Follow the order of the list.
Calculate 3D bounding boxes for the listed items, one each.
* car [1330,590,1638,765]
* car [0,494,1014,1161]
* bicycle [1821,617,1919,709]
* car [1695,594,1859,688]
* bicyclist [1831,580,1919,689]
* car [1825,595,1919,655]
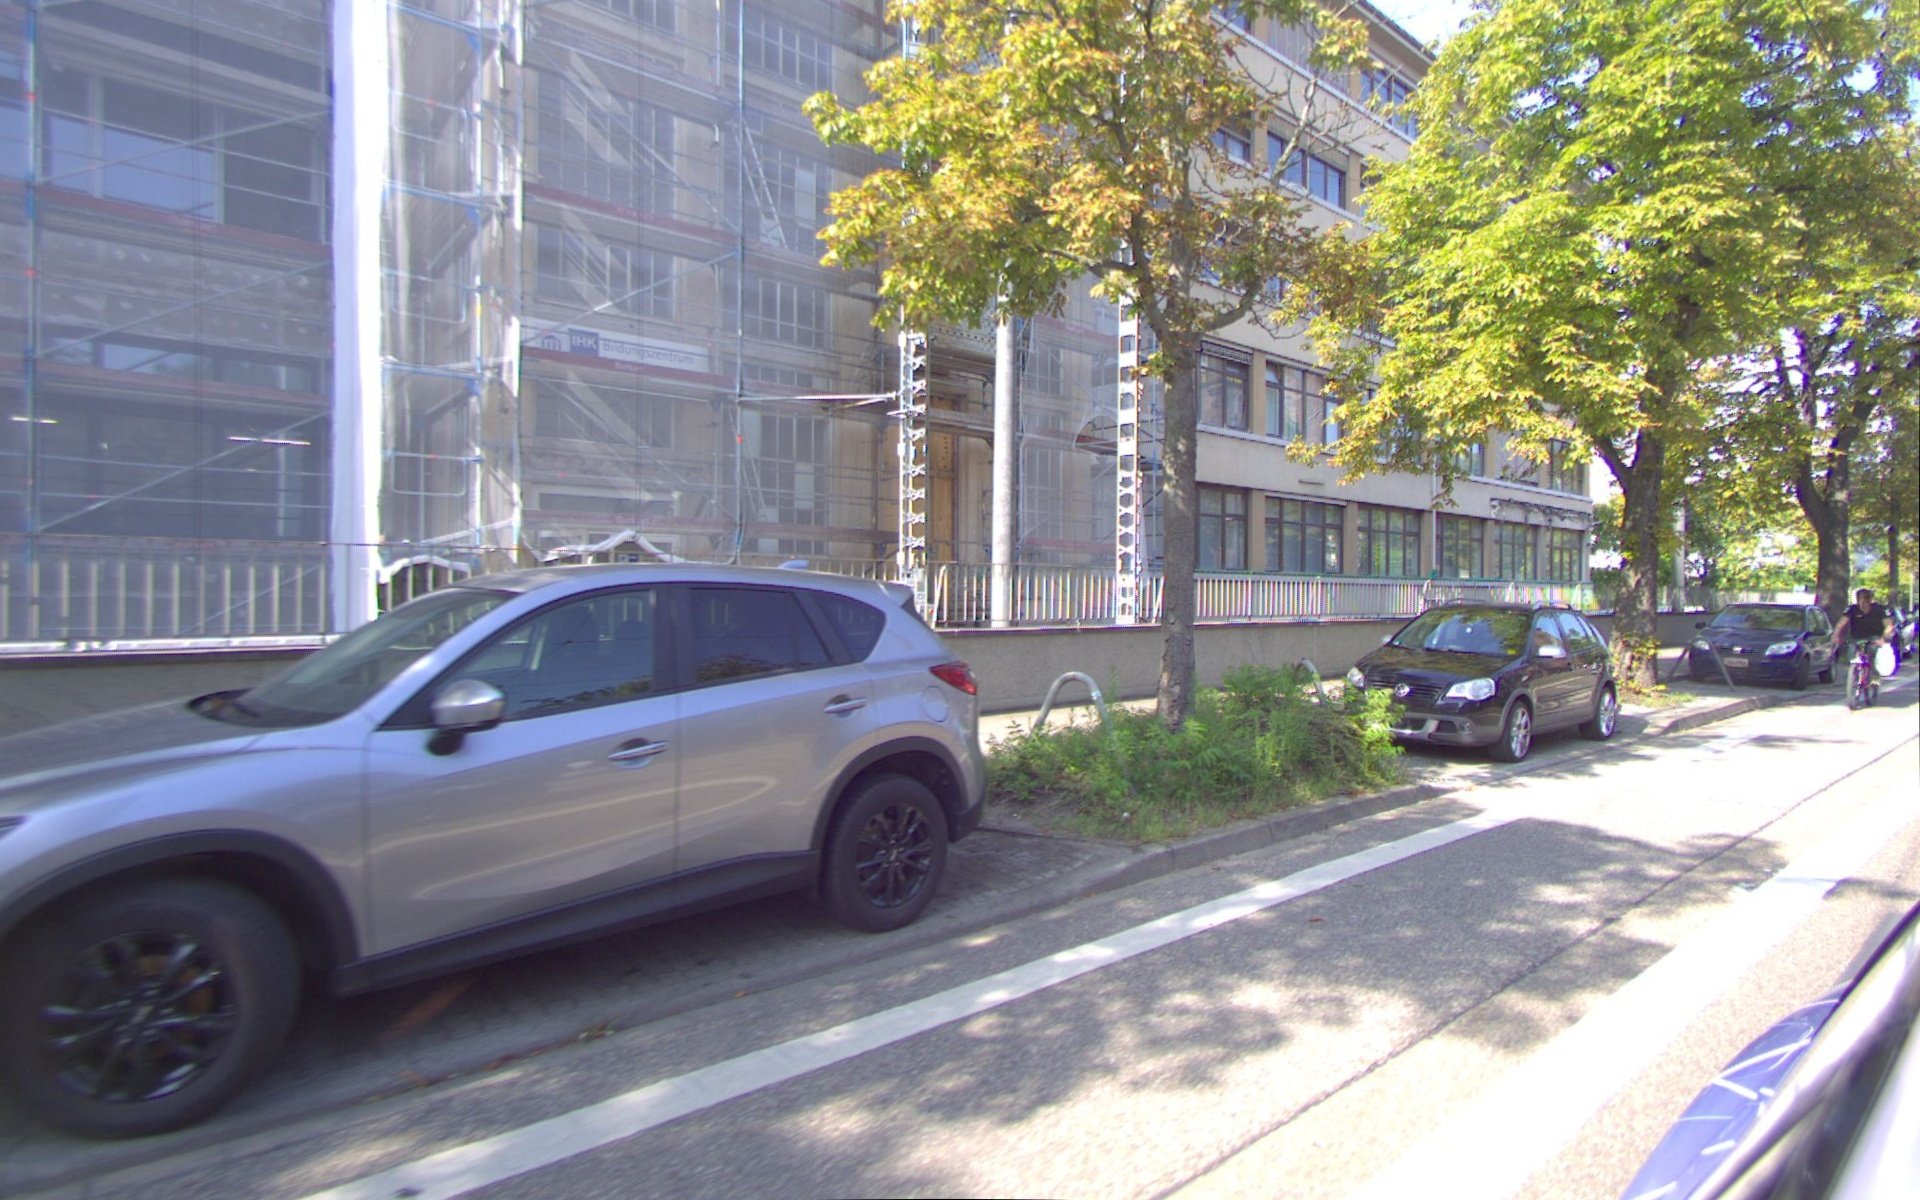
[{"bbox_3d":[5.673,0.682,10.797,3.671,1.503,1.580,0,2,-40],"label":"car"},{"bbox_3d":[-1.908,0.589,4.295,4.320,1.713,1.755,0,-1,-42],"label":"car"},{"bbox_3d":[13.073,0.856,14.430,2.263,1.159,0.789,0,0,-38],"label":"bicycle"},{"bbox_3d":[15.335,0.686,18.946,3.711,1.529,1.650,0,2,-40],"label":"car"},{"bbox_3d":[13.091,0.462,14.451,1.096,1.488,0.789,0,0,-38],"label":"bicyclist"},{"bbox_3d":[24.266,0.608,26.683,4.014,1.446,1.649,0,0,-41],"label":"car"}]
